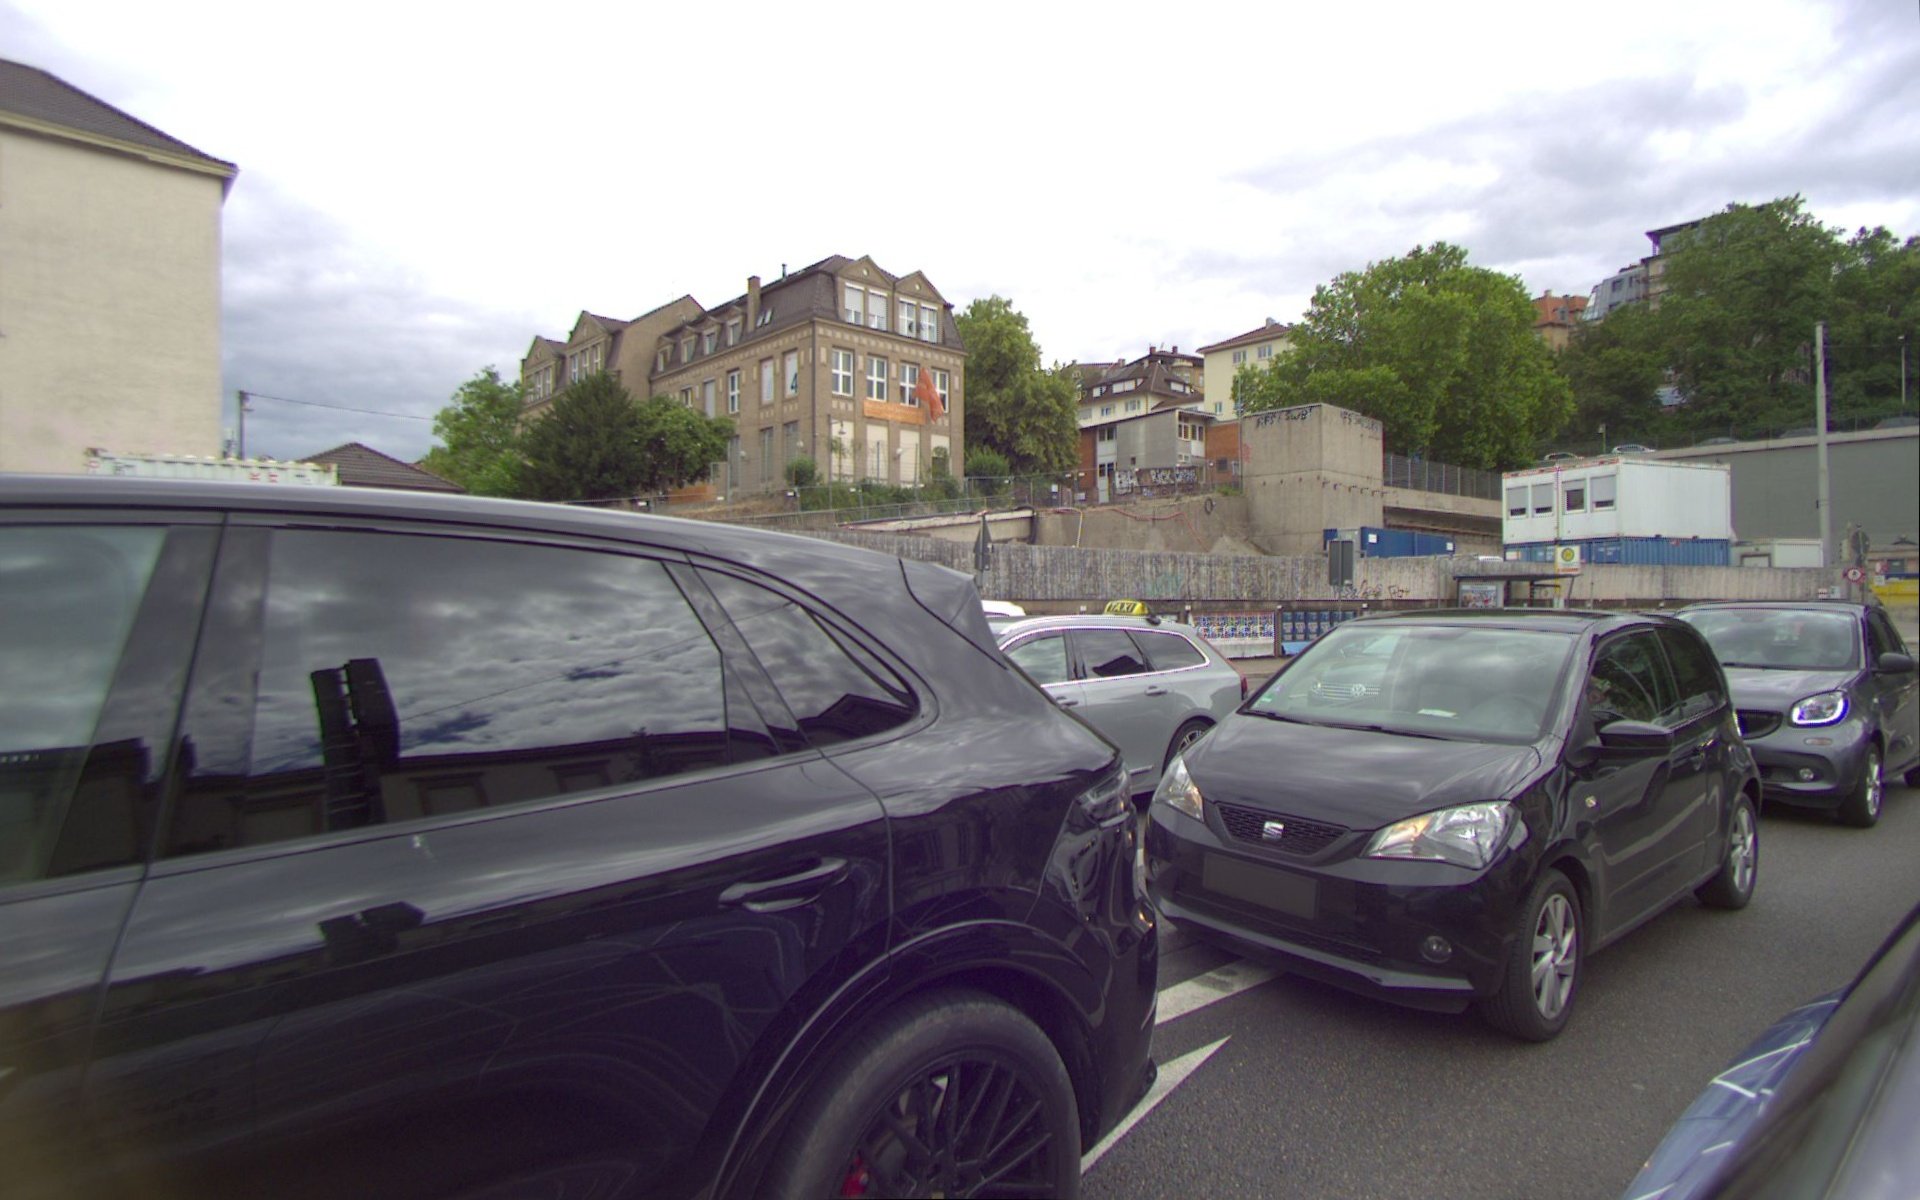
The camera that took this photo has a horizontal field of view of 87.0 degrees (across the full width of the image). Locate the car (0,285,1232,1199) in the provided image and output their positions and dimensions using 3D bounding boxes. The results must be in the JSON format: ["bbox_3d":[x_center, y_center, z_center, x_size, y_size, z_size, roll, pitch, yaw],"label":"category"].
[{"bbox_3d":[-1.619,0.556,1.613,4.406,1.737,1.827,-1,0,-41],"label":"car"}]

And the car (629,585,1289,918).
[{"bbox_3d":[0.271,0.727,7.275,4.725,1.645,1.827,-1,0,-41],"label":"car"}]

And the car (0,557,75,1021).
[{"bbox_3d":[-5.302,0.684,3.051,3.930,1.645,1.679,-1,0,-41],"label":"car"}]

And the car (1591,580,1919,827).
[{"bbox_3d":[6.709,0.658,8.200,3.511,1.563,1.720,0,0,-40],"label":"car"}]

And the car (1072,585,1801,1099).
[{"bbox_3d":[2.438,0.675,4.805,3.636,1.476,1.827,-1,0,-41],"label":"car"}]

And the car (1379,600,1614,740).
[{"bbox_3d":[6.524,0.743,12.251,2.667,1.449,1.664,-1,0,-41],"label":"car"}]

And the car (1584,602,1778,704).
[{"bbox_3d":[11.506,0.745,16.071,3.740,1.383,1.679,-1,0,-41],"label":"car"}]

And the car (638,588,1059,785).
[{"bbox_3d":[-1.007,0.703,10.491,4.136,1.645,1.679,-1,0,-41],"label":"car"}]
